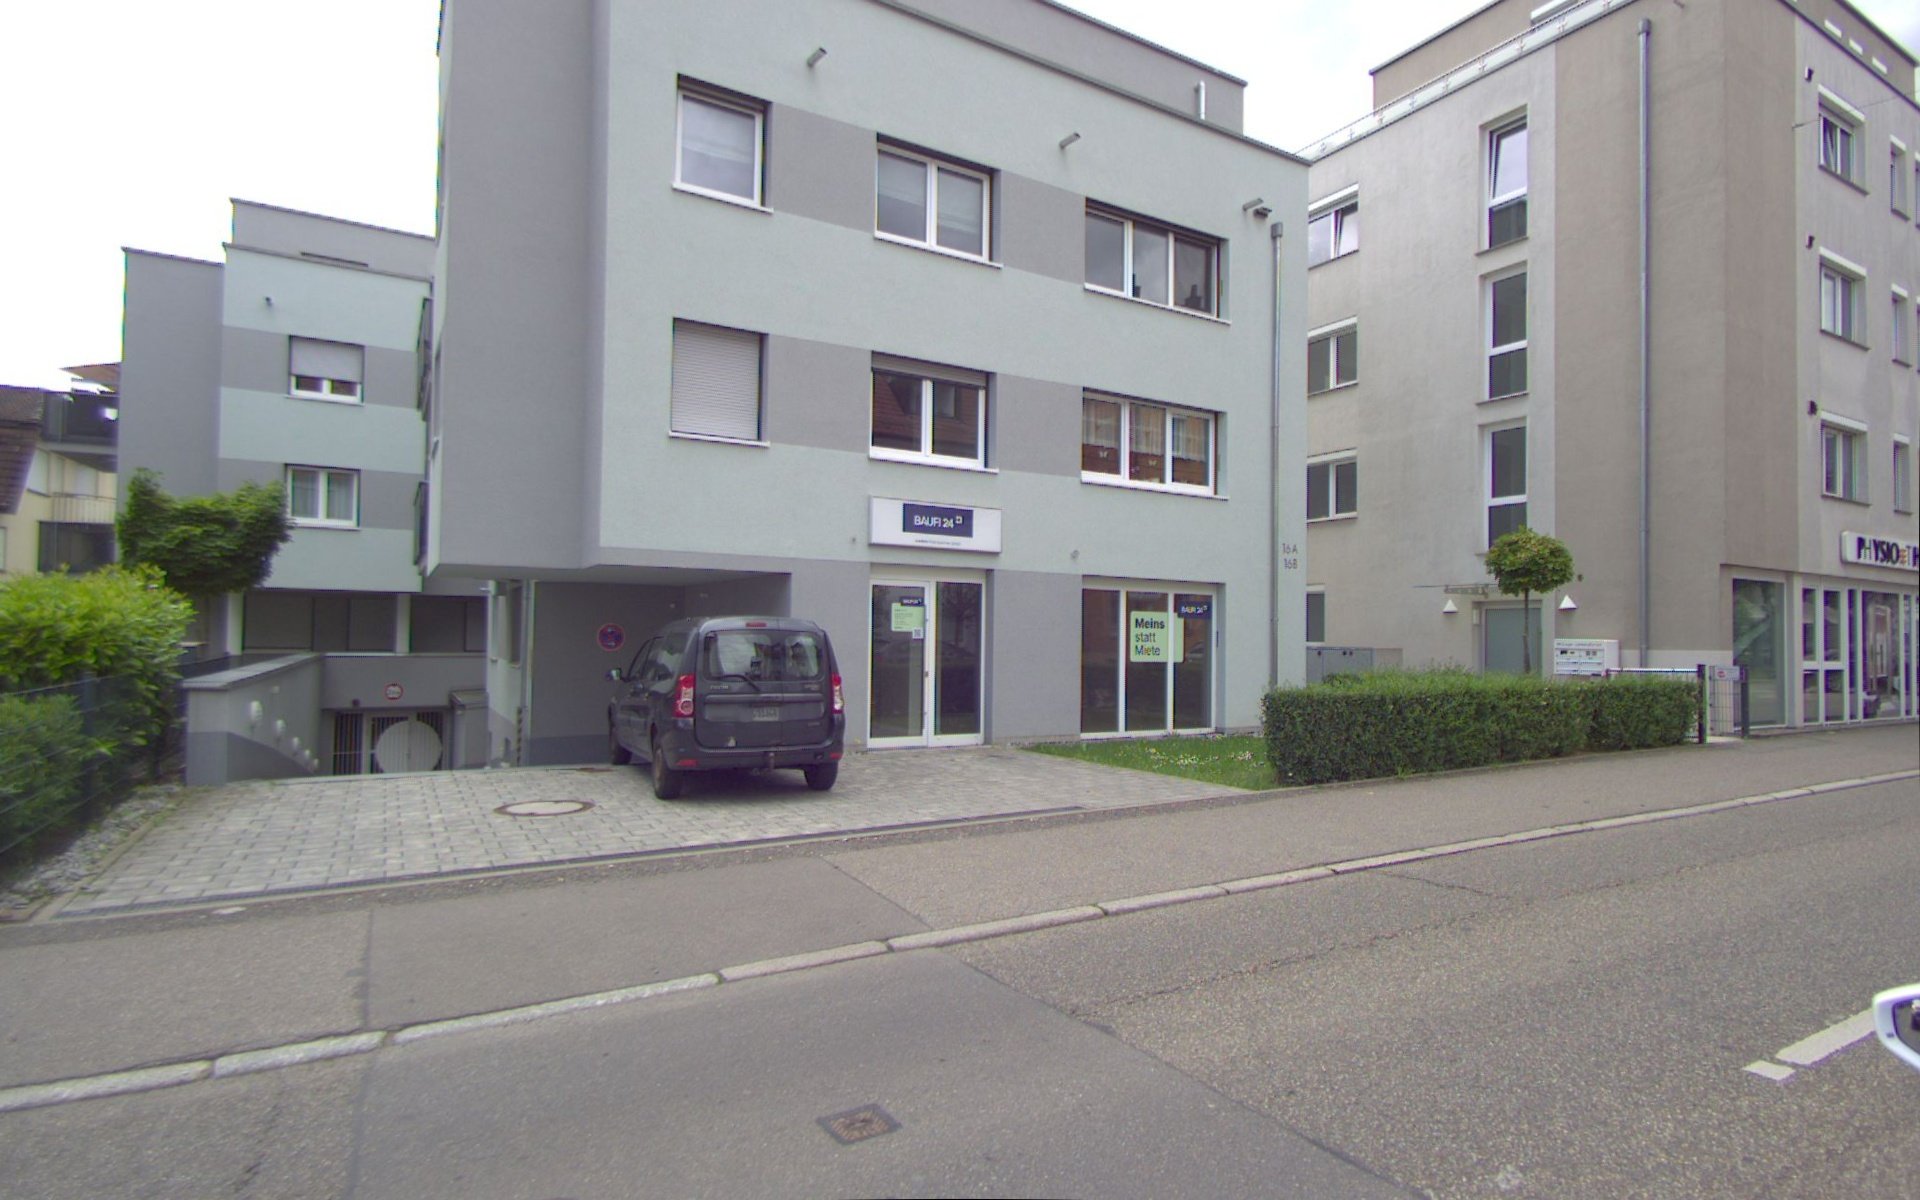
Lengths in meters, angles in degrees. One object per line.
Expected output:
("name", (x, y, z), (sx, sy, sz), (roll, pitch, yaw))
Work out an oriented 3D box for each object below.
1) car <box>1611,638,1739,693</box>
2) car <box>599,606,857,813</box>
("car", (21.341, 1.938, 29.956), (3.647, 1.476, 1.745), (2, -1, -30))
("car", (-2.602, 0.971, 10.461), (1.702, 1.689, 4.150), (2, -2, -26))
